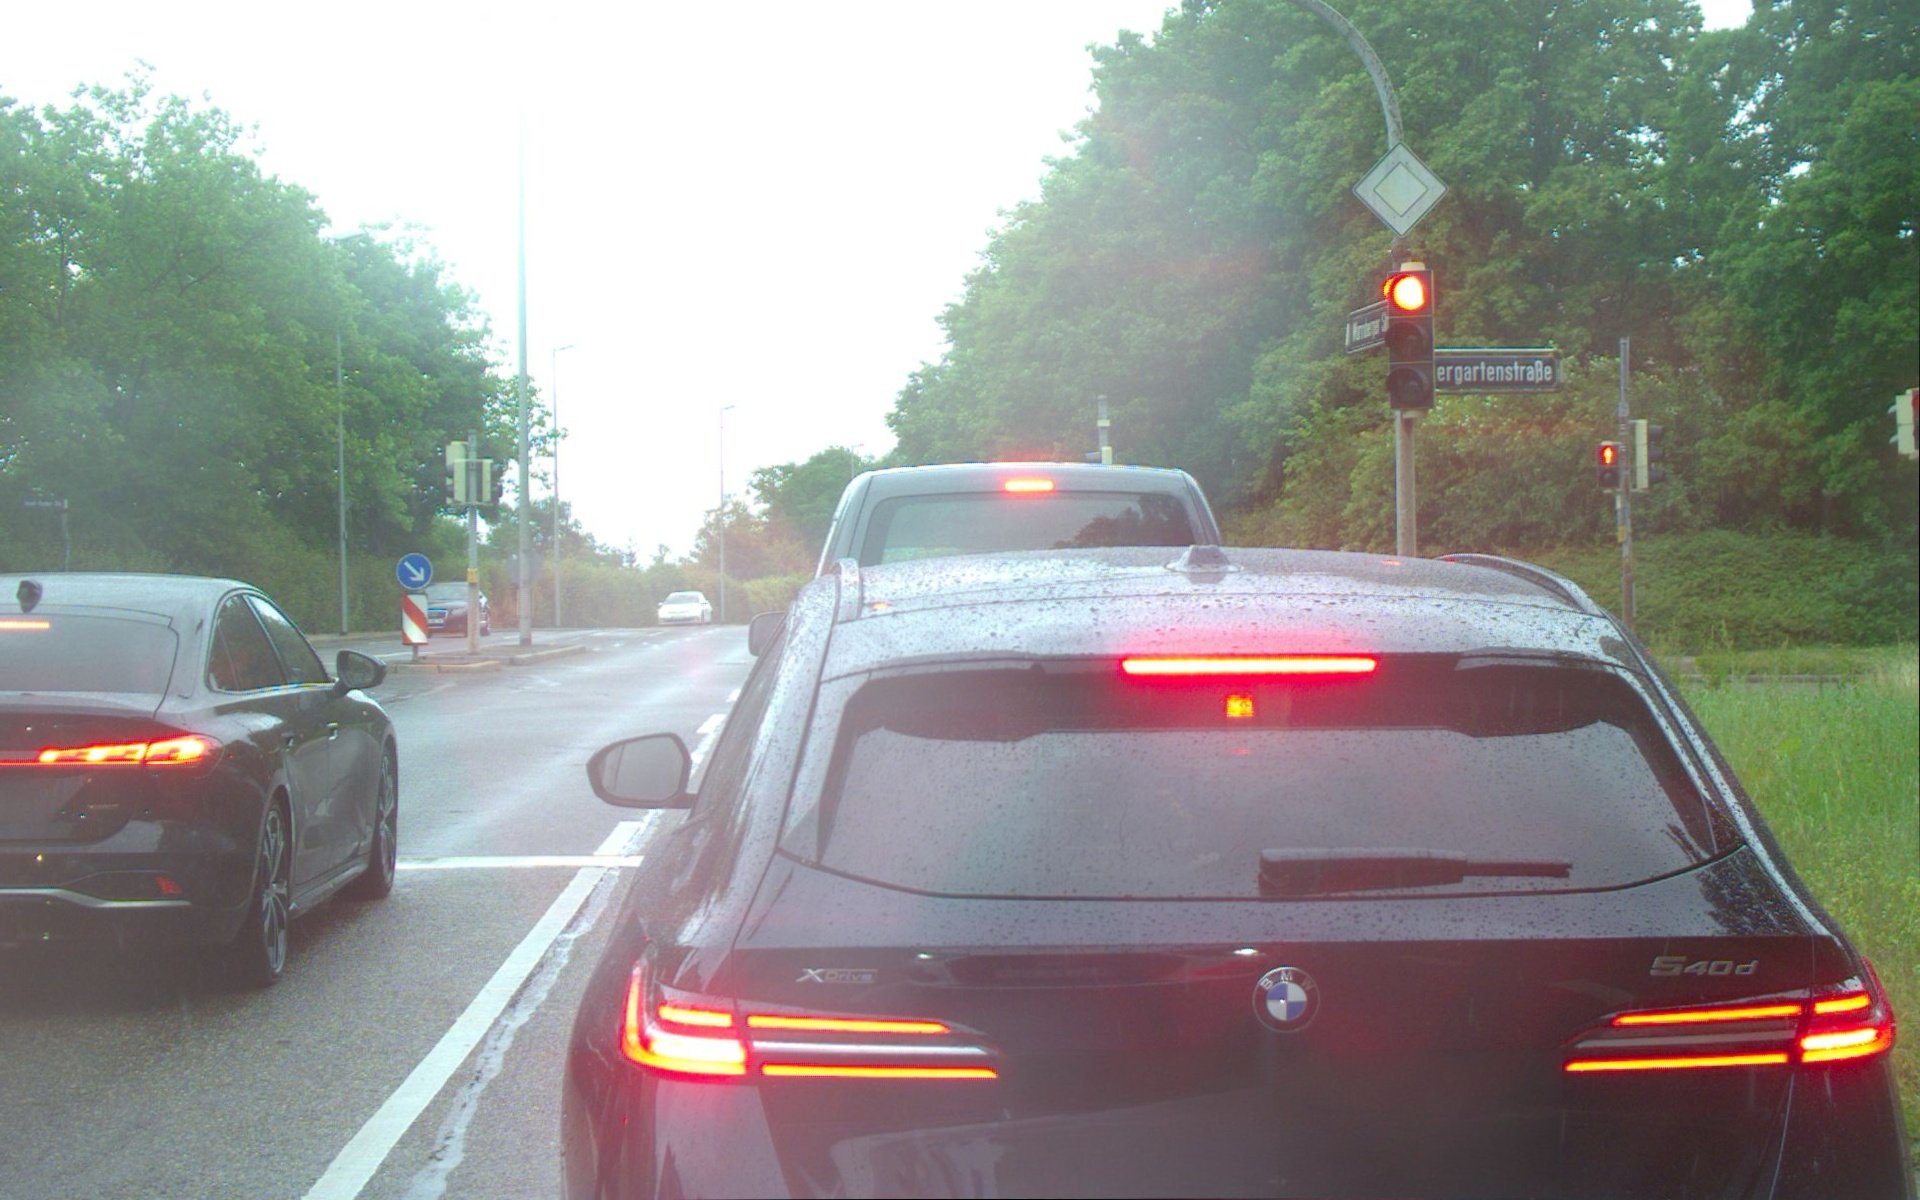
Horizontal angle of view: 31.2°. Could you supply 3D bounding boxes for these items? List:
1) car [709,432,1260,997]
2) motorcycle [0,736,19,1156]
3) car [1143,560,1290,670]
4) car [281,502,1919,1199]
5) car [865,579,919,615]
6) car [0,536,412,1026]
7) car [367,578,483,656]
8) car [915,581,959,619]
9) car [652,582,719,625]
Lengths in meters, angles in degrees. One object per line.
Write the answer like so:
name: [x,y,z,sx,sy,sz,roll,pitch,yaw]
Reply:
car: [0.078,0.365,13.361,1.818,1.862,3.952,0,0,0]
motorcycle: [-2.742,0.862,7.898,0.691,1.049,1.747,0,-1,-1]
car: [3.873,0.198,52.428,1.873,1.537,3.952,-2,0,0]
car: [0.272,0.670,6.275,1.898,1.546,4.614,0,0,3]
car: [-3.514,-0.178,177.902,2.106,1.759,4.867,-2,0,6]
car: [-3.363,0.587,13.065,1.993,1.522,4.328,-2,0,-3]
car: [-13.330,0.400,85.866,1.994,1.820,4.000,-2,0,3]
car: [-0.901,-0.016,138.192,1.697,1.422,3.514,-2,0,0]
car: [-11.073,0.137,138.879,1.994,1.605,3.671,-2,0,6]
